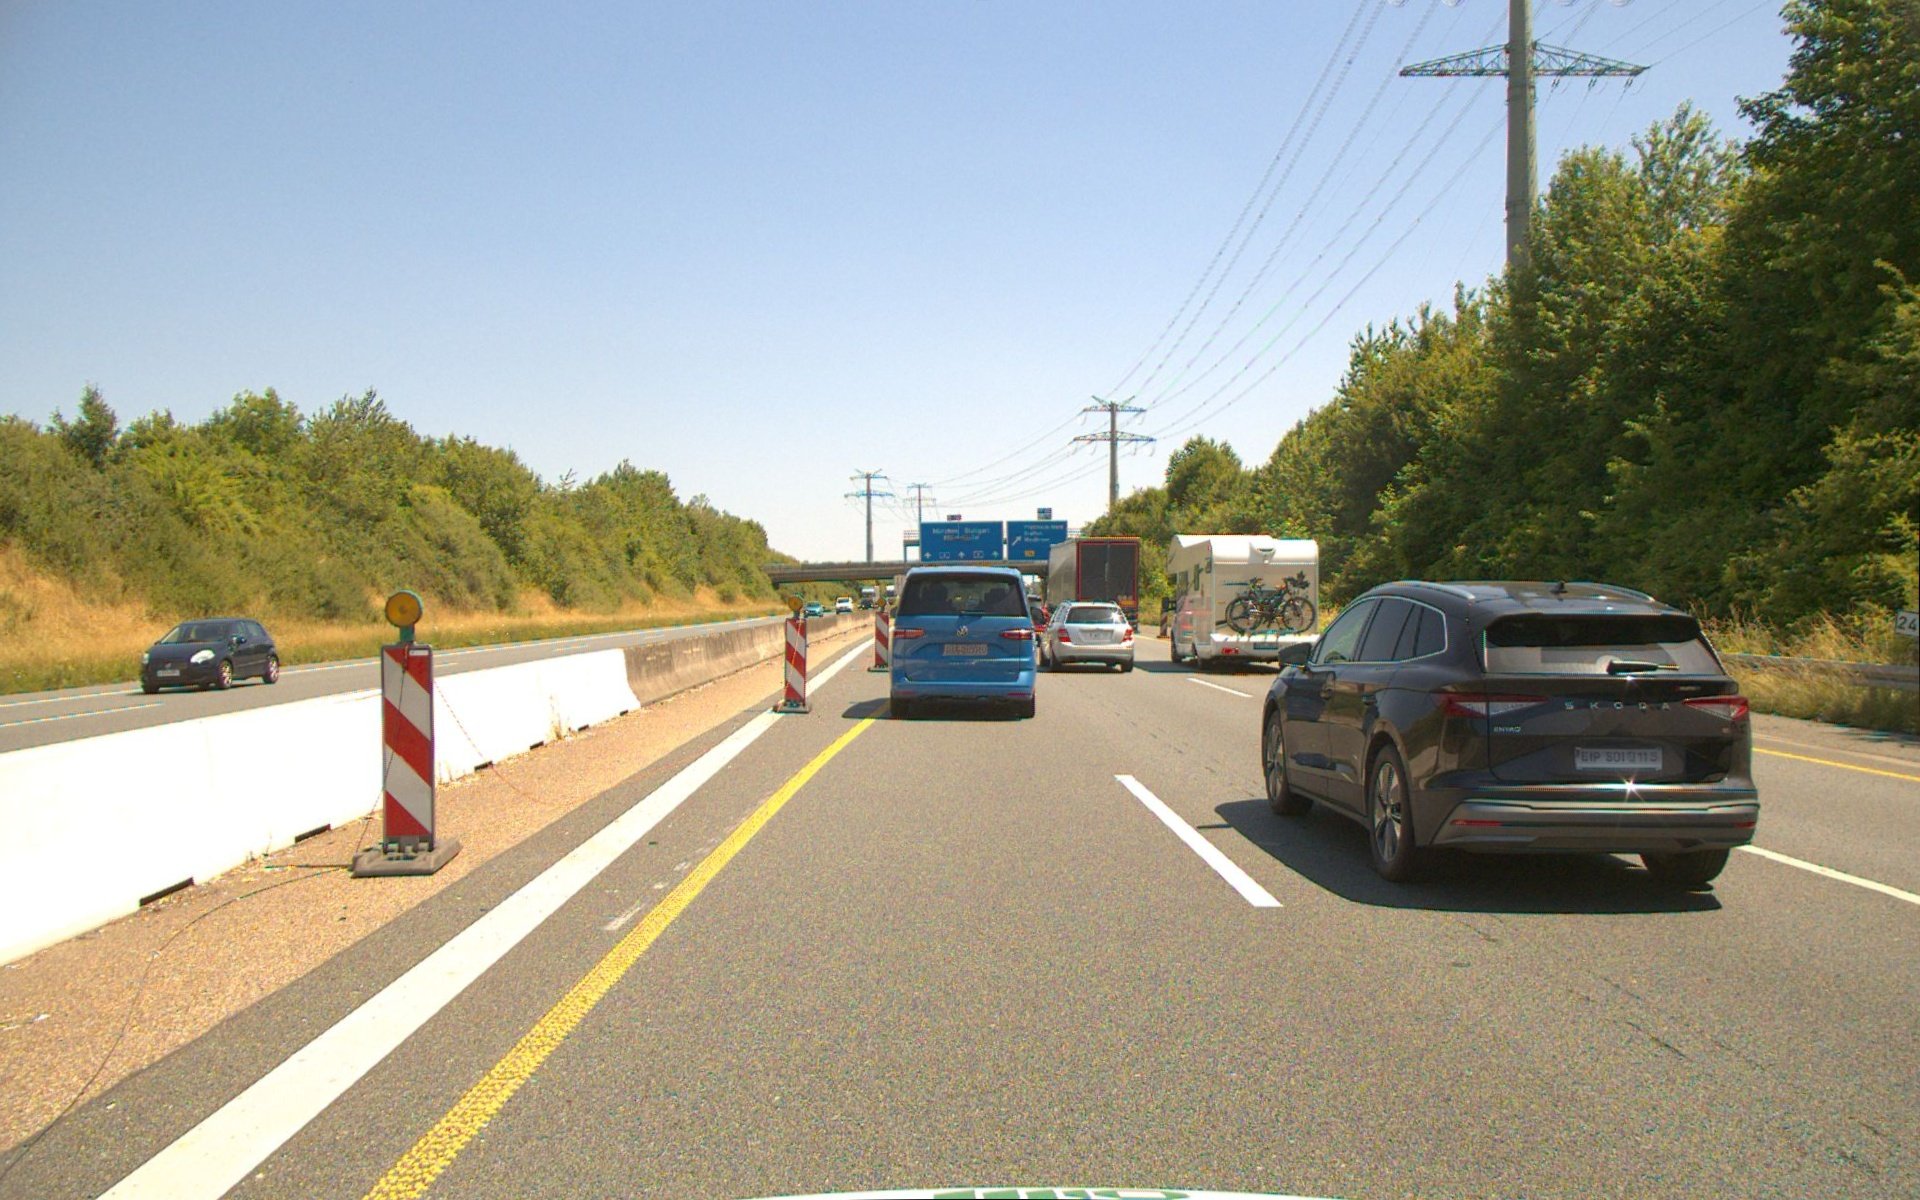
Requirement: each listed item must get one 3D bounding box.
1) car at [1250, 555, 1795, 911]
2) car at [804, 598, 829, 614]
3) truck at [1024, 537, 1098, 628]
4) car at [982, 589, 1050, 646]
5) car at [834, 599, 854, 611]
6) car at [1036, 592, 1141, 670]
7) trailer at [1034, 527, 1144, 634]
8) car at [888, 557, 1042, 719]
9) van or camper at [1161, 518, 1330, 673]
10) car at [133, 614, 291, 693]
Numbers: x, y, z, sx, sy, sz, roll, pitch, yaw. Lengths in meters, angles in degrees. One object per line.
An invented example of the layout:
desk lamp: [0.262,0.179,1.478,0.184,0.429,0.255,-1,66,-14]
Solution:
car: [3.101,0.645,10.162,1.667,1.684,4.427,1,0,-2]
car: [-13.455,0.567,155.133,1.953,1.422,4.000,-2,0,0]
truck: [4.744,-0.802,78.458,2.679,4.118,5.788,1,0,-4]
car: [1.766,0.543,53.248,1.837,1.700,4.358,1,0,-2]
car: [-13.712,0.577,195.967,1.953,1.422,4.000,-2,0,0]
car: [2.711,0.635,35.750,1.735,1.544,4.358,1,0,-2]
trailer: [5.331,-0.775,71.006,2.728,4.118,13.100,1,0,-4]
car: [-0.022,0.464,22.343,1.837,1.945,4.358,1,0,-2]
van or camper: [6.240,-0.087,37.285,2.321,3.096,7.630,1,0,-1]
car: [-15.690,1.085,34.899,1.674,1.490,3.848,-2,0,-2]
